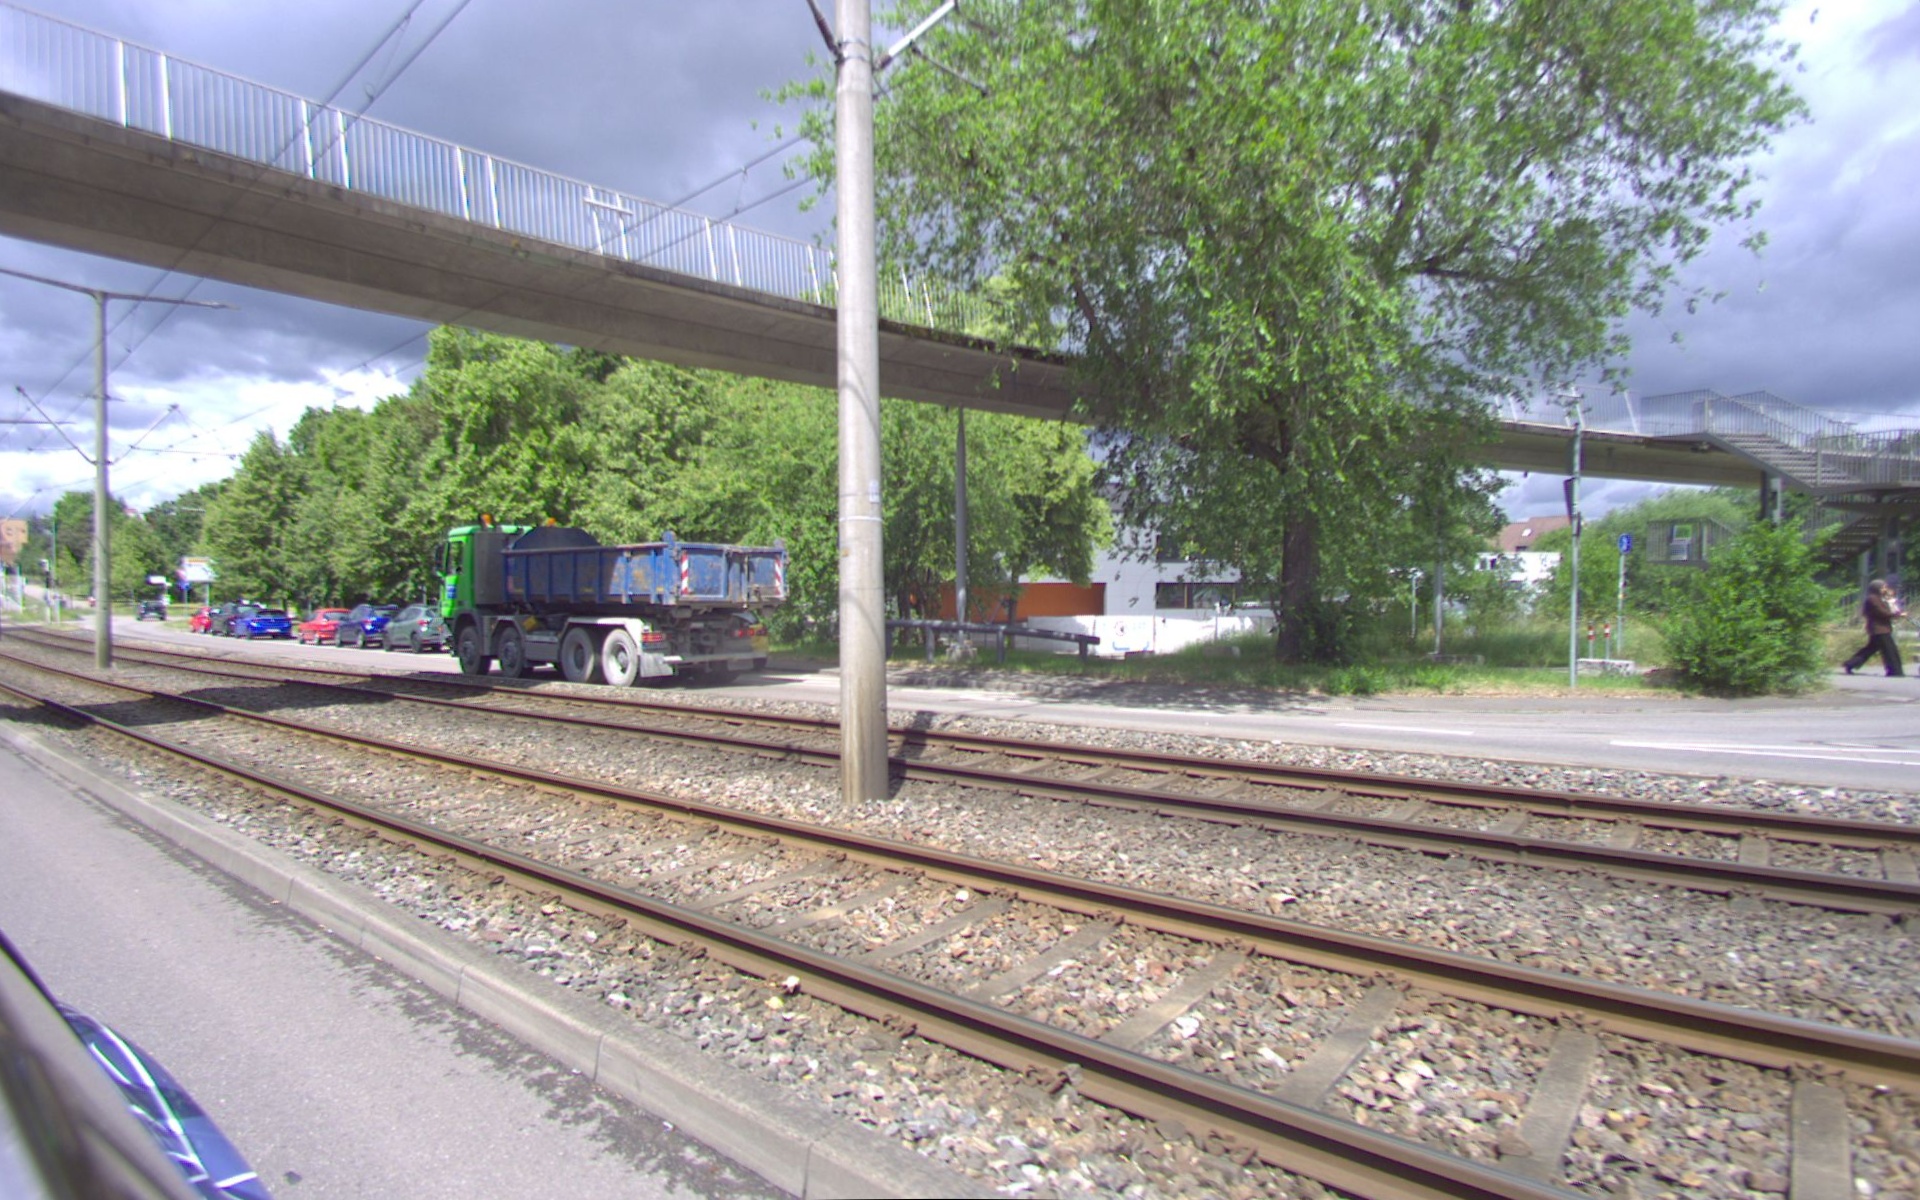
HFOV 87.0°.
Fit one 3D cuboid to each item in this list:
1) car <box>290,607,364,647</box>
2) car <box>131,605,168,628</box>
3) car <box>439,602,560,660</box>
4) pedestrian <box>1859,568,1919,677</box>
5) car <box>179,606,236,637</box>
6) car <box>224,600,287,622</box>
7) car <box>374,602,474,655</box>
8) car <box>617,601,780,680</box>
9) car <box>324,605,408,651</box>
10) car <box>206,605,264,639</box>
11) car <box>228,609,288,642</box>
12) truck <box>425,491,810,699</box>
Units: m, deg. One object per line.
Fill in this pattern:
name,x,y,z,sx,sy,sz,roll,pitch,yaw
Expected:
car,-25.448,1.084,40.663,4.049,1.505,1.595,-1,0,44
car,-61.915,1.211,77.309,4.000,1.585,1.596,1,3,42
car,-13.409,0.878,29.385,4.190,1.505,1.577,-1,1,41
pedestrian,15.585,0.356,16.972,0.718,1.769,0.654,1,3,43
car,-41.010,1.145,55.152,3.657,1.462,1.598,1,3,39
car,-63.365,0.958,91.059,1.733,1.702,4.314,0,3,25
car,-17.716,0.917,33.364,4.126,1.635,1.624,0,-3,43
car,-5.861,0.818,22.442,3.899,1.461,1.671,2,3,43
car,-21.913,1.003,37.269,4.160,1.608,1.540,-1,-2,43
car,-36.560,1.080,50.991,4.375,1.617,1.563,-1,-1,43
car,-32.923,1.159,47.416,4.009,1.472,1.595,0,-1,45
truck,-7.172,-0.169,20.276,9.020,3.344,2.844,0,3,39
